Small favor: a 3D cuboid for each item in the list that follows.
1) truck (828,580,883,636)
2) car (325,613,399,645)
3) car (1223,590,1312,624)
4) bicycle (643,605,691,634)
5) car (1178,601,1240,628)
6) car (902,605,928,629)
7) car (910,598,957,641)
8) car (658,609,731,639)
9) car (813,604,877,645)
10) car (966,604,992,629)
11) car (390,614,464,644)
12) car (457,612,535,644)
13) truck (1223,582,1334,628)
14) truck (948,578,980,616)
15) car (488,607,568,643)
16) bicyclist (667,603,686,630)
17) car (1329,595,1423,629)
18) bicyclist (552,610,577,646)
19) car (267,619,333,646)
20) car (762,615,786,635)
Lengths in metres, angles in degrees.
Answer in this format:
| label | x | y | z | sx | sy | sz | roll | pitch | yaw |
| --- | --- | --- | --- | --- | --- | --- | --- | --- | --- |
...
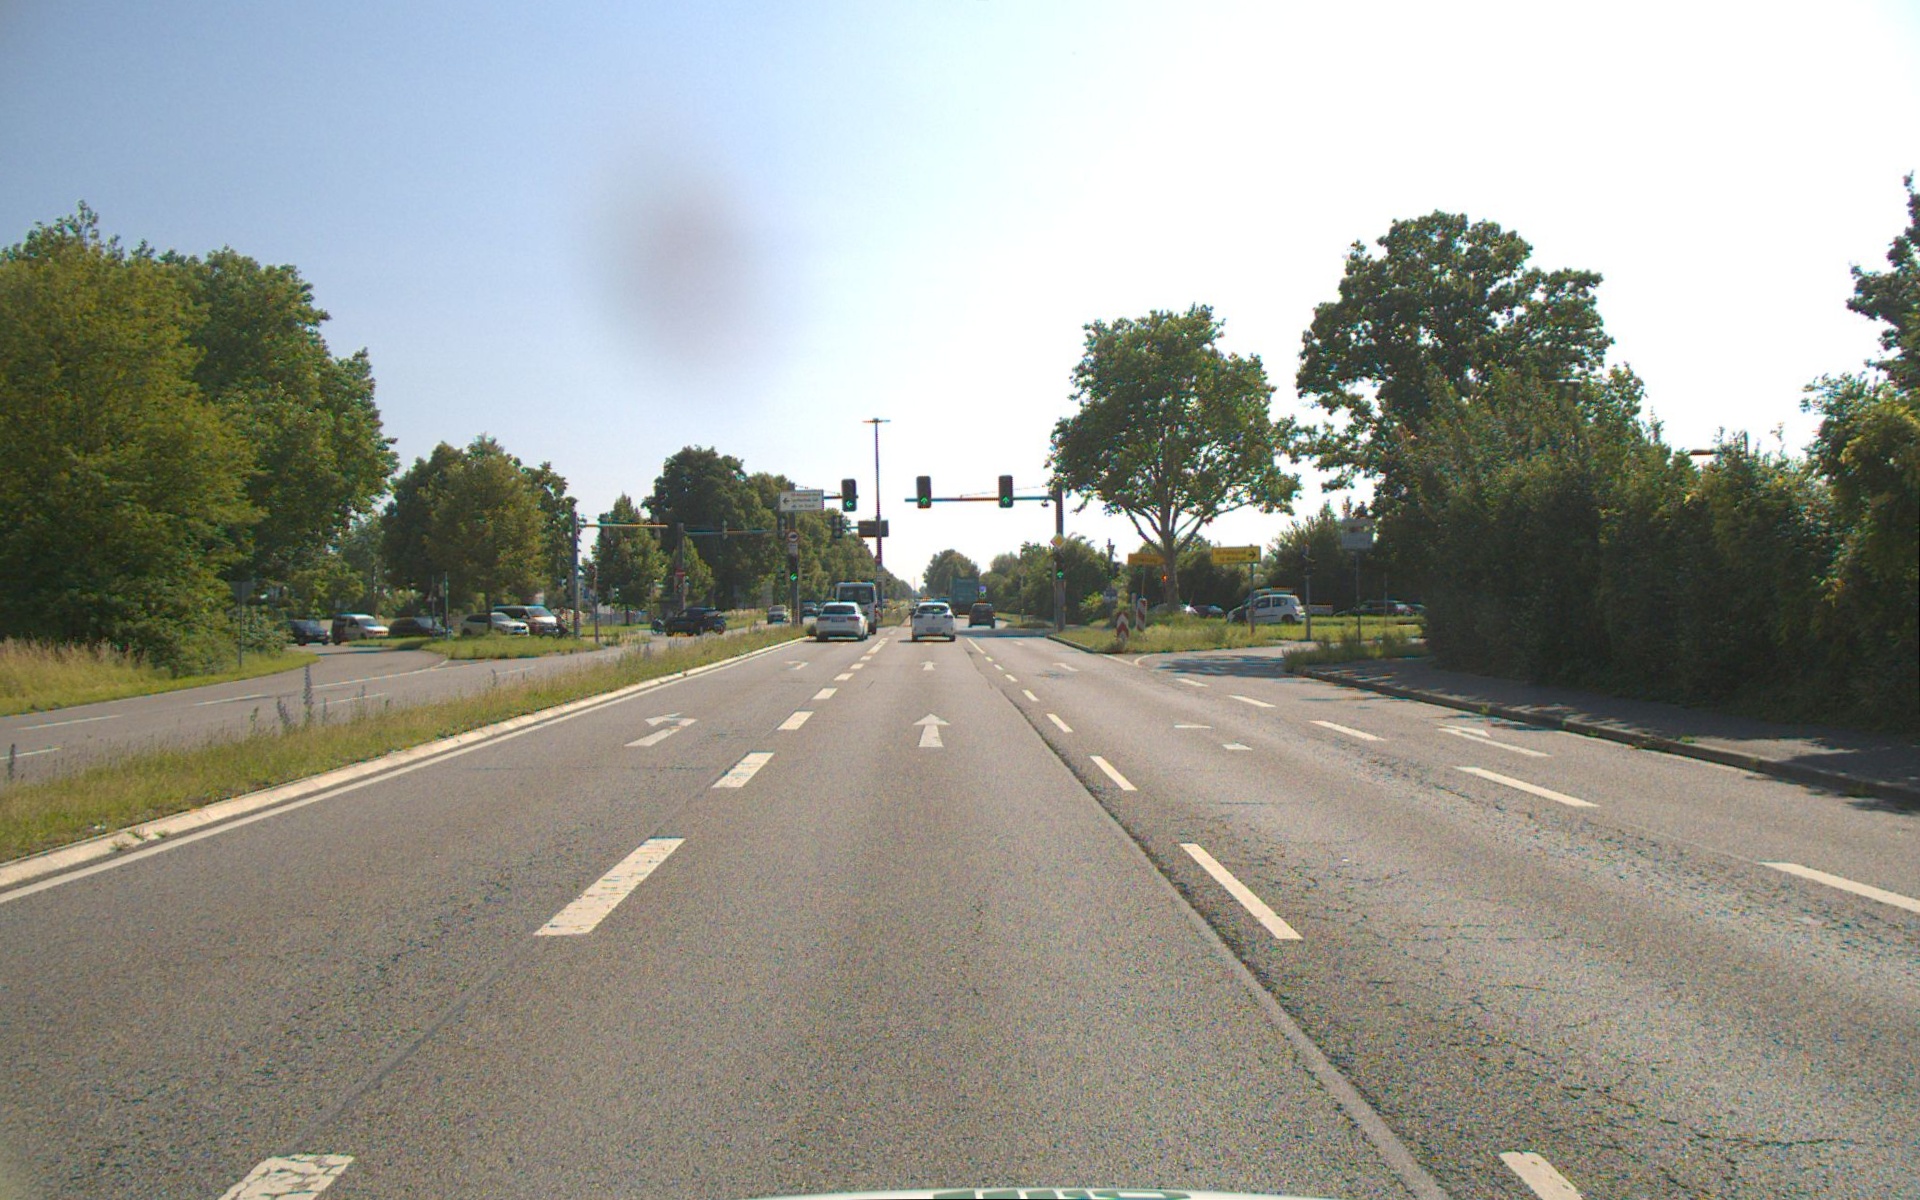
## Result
| label | x | y | z | sx | sy | sz | roll | pitch | yaw |
| --- | --- | --- | --- | --- | --- | --- | --- | --- | --- |
| truck | -4.807 | 0.338 | 76.872 | 2.326 | 2.430 | 6.037 | -1 | 0 | -2 |
| car | -36.500 | 1.768 | 100.931 | 4.414 | 1.832 | 1.998 | -2 | 0 | 34 |
| car | 14.203 | 0.345 | 76.385 | 3.668 | 1.495 | 1.784 | -1 | 0 | 25 |
| bicycle | -17.878 | 1.173 | 100.967 | 2.737 | 1.699 | 1.135 | -1 | 0 | 26 |
| car | 14.639 | 0.865 | 97.498 | 1.600 | 1.575 | 3.784 | 2 | -2 | -31 |
| car | -2.789 | 1.056 | 102.576 | 1.540 | 1.439 | 3.277 | -1 | 0 | -1 |
| car | -1.010 | 0.725 | 63.767 | 1.762 | 1.580 | 4.000 | 0 | 0 | 0 |
| car | -15.054 | 1.341 | 93.731 | 3.921 | 1.678 | 1.906 | -1 | -1 | 37 |
| car | -4.406 | 0.921 | 64.125 | 1.774 | 1.490 | 4.973 | -1 | 0 | 4 |
| car | 1.145 | 1.014 | 100.832 | 1.540 | 1.439 | 3.276 | 0 | -1 | -1 |
| car | -31.219 | 1.705 | 96.810 | 4.180 | 1.634 | 1.998 | -2 | 0 | 34 |
| car | -26.205 | 1.566 | 93.373 | 4.180 | 1.634 | 1.998 | -2 | 0 | 34 |
| truck | 17.813 | 0.343 | 92.777 | 2.317 | 2.428 | 6.398 | 2 | -2 | -34 |
| truck | 0.340 | -0.297 | 157.263 | 2.833 | 3.488 | 9.167 | -1 | 0 | -1 |
| car | -25.327 | 1.458 | 96.988 | 4.559 | 1.984 | 1.994 | -2 | 0 | 34 |
| bicyclist | -17.226 | 1.024 | 100.617 | 0.845 | 1.647 | 0.757 | -1 | -1 | 27 |
| car | 21.056 | 0.624 | 83.855 | 1.869 | 1.663 | 4.405 | 2 | -1 | -39 |
| bicyclist | -16.812 | 1.188 | 70.350 | 0.829 | 1.544 | 0.747 | -1 | 0 | 4 |
| car | -41.589 | 2.070 | 104.238 | 4.041 | 1.538 | 1.913 | -2 | 0 | 34 |
| car | -14.889 | 1.997 | 132.285 | 1.456 | 1.439 | 3.761 | -4 | 0 | -1 |
